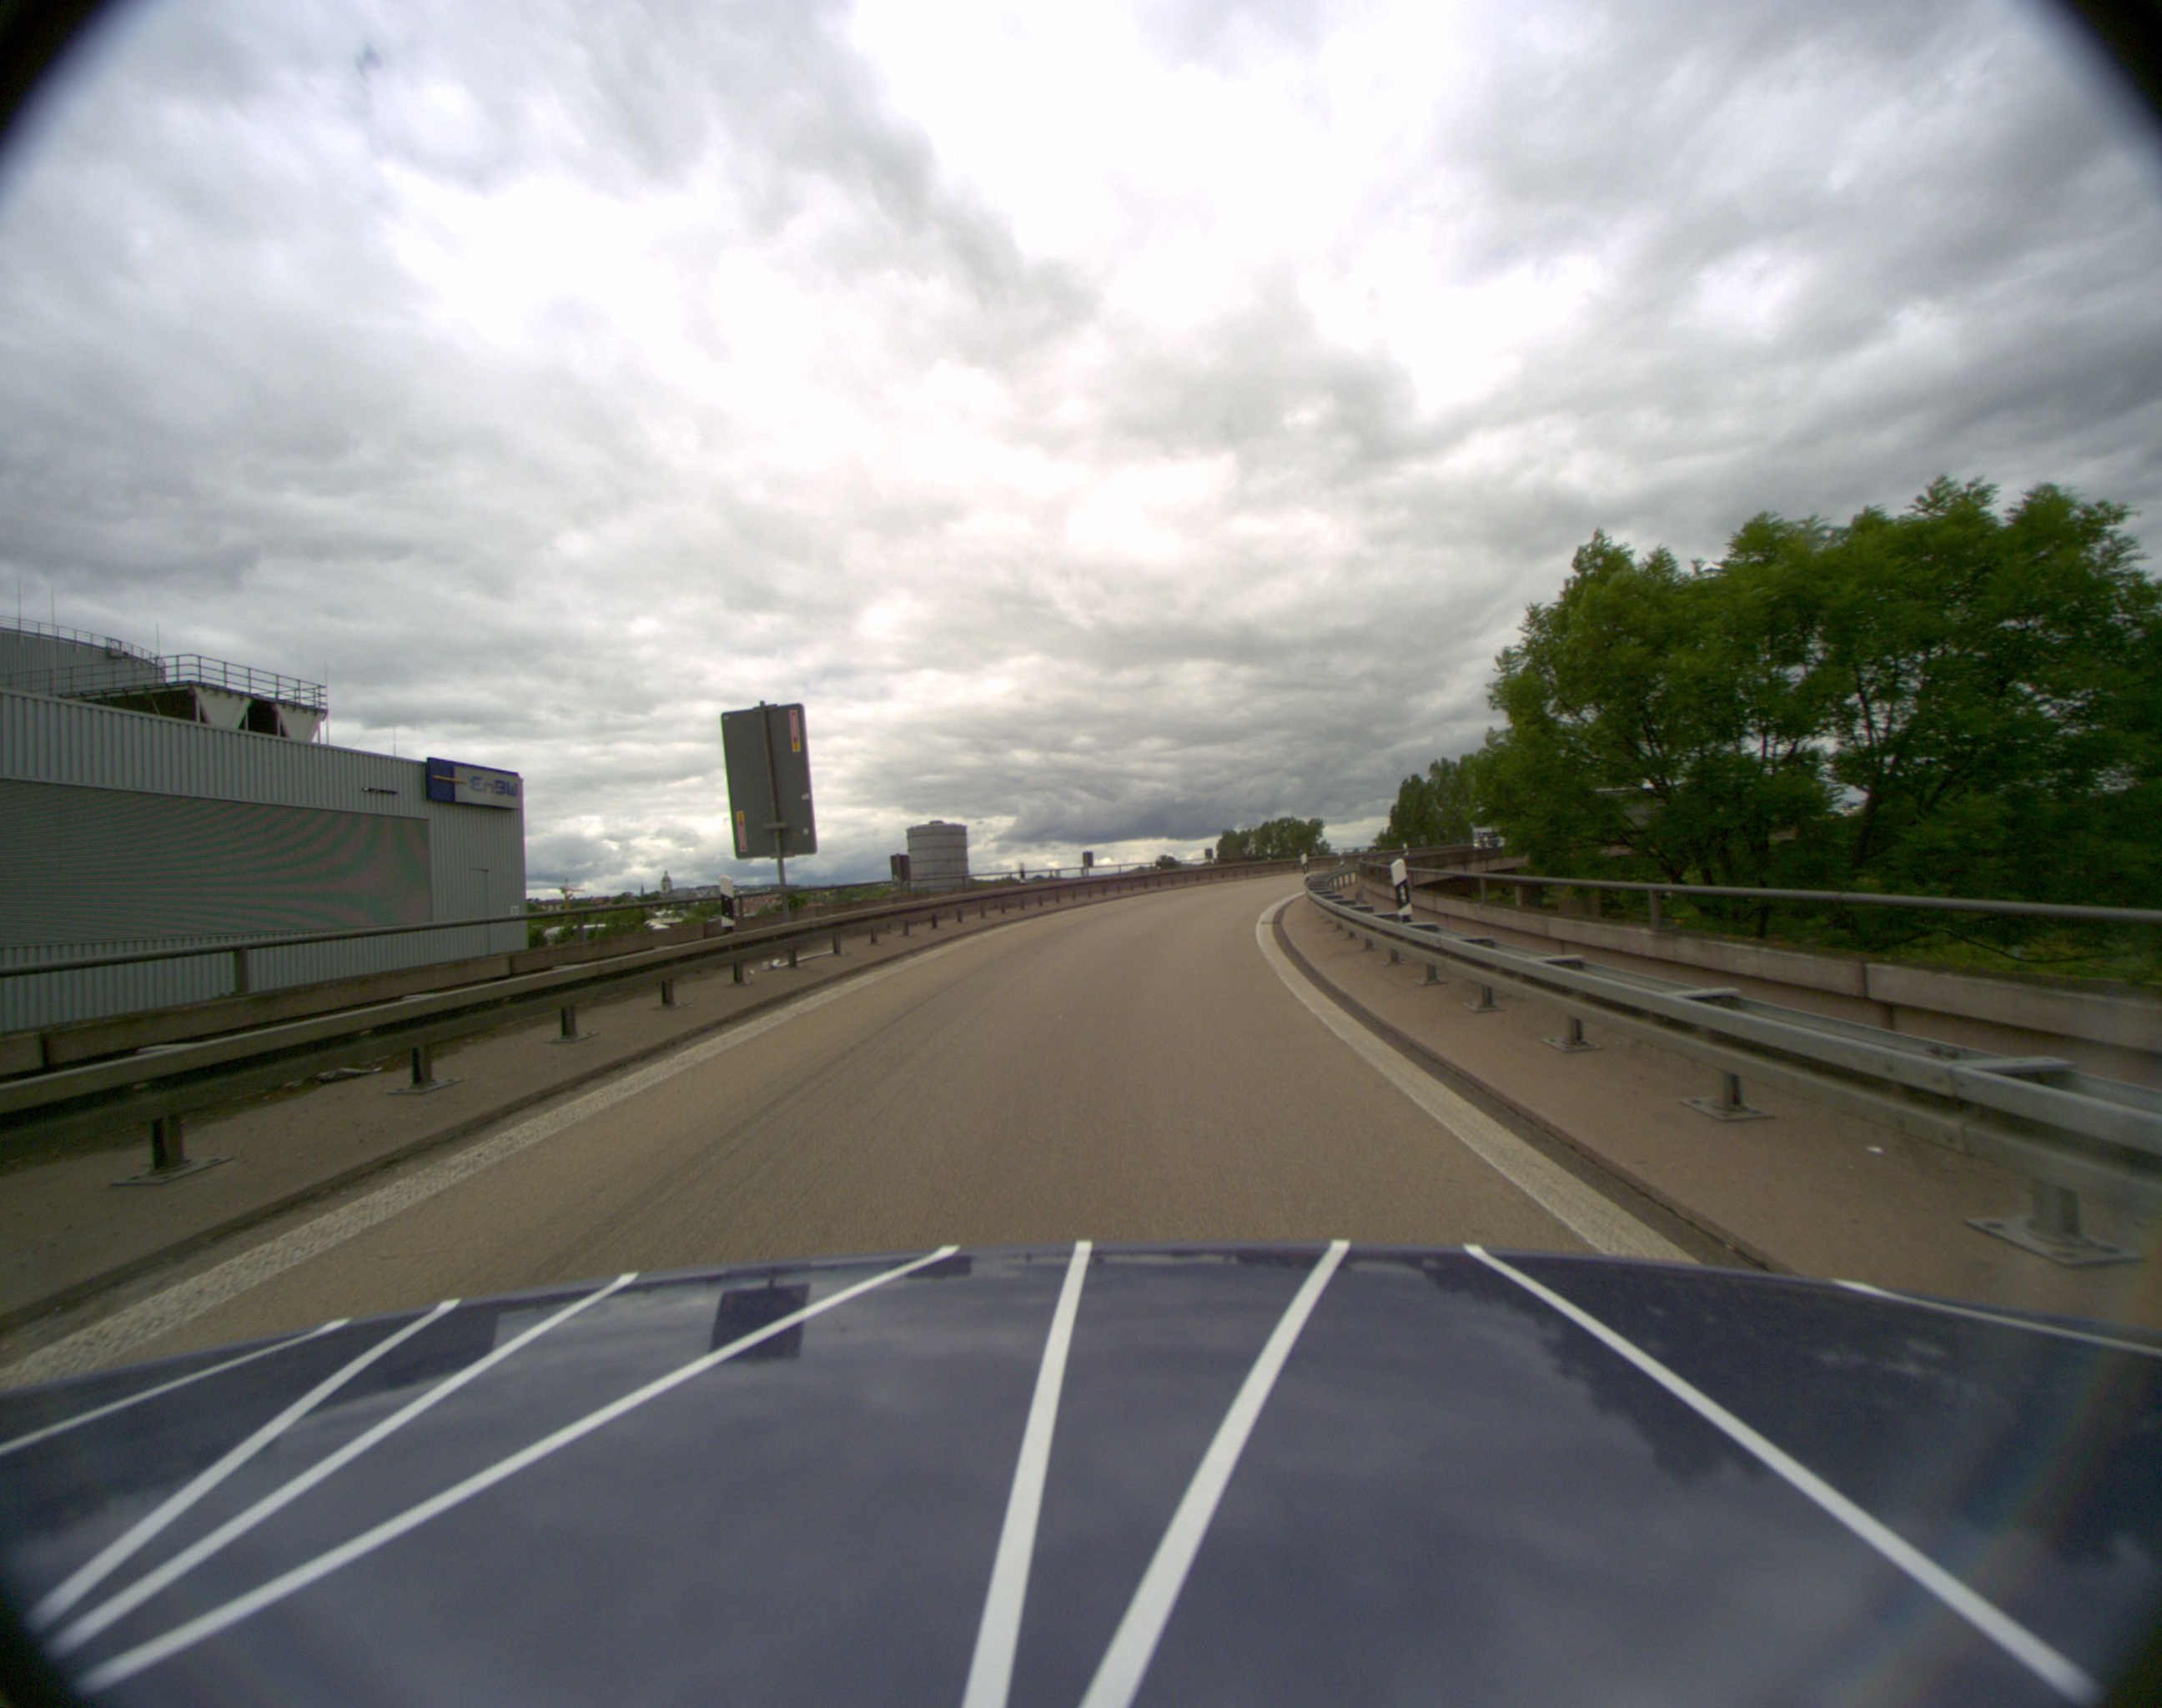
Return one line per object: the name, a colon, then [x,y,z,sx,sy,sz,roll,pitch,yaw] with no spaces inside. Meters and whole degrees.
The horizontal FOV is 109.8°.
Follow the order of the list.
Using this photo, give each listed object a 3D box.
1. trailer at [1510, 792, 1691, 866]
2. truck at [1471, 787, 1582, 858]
trailer: [36.377,-1.790,53.074,13.457,4.211,2.746,-4,-2,-20]
truck: [29.616,-2.103,50.509,6.205,4.202,2.733,-4,-2,-20]
